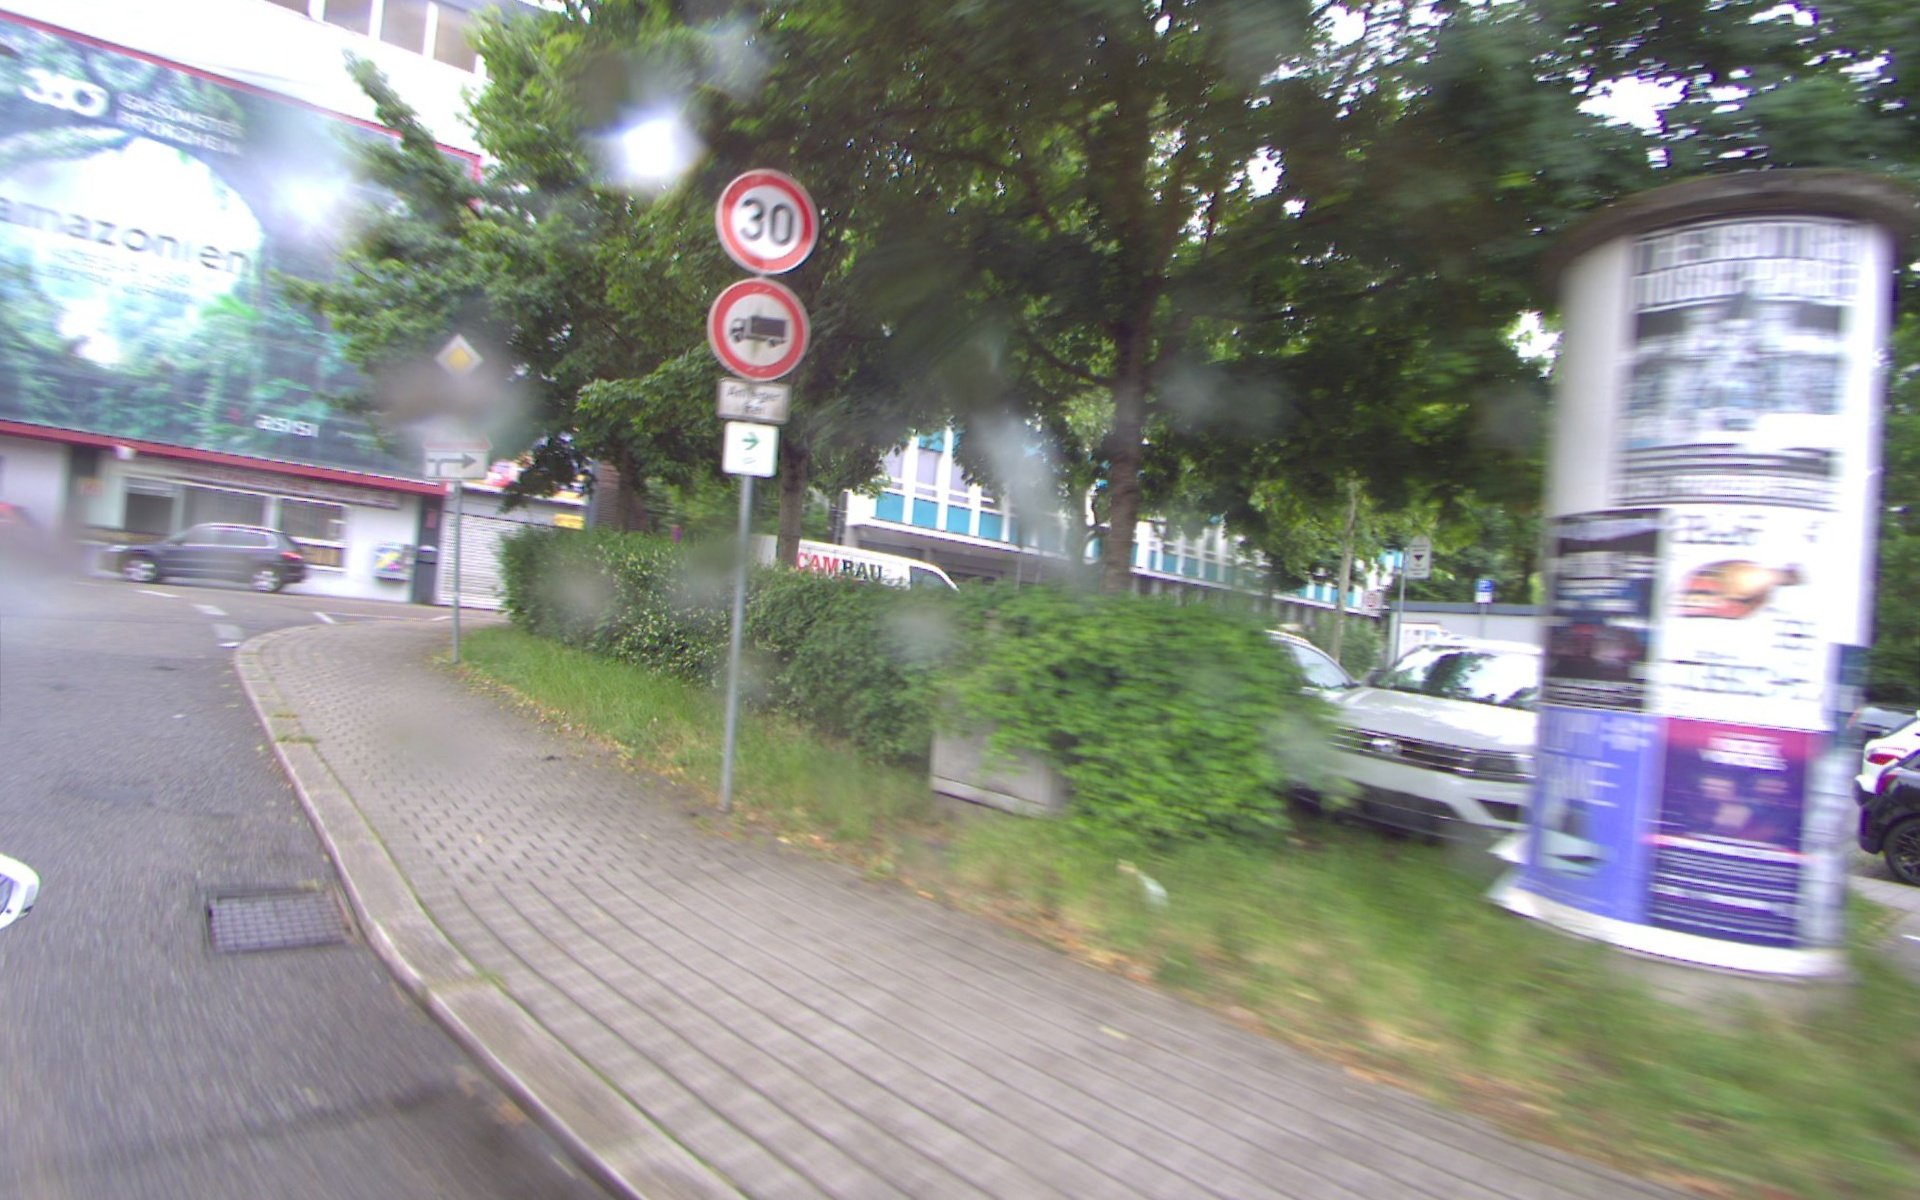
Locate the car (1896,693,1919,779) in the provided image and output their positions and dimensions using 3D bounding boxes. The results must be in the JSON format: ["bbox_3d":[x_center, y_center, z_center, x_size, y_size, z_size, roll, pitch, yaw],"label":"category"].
[{"bbox_3d":[20.550,2.866,20.343,3.968,1.630,1.781,7,-1,-40],"label":"car"}]

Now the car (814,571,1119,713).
[{"bbox_3d":[0.211,0.649,14.158,4.184,1.501,1.617,8,0,-43],"label":"car"}]

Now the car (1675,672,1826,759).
[{"bbox_3d":[17.949,2.619,22.788,3.968,1.630,1.781,7,-1,-40],"label":"car"}]

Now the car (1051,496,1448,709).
[{"bbox_3d":[2.948,0.115,9.693,4.184,1.501,1.617,8,0,-43],"label":"car"}]

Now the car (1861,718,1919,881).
[{"bbox_3d":[10.039,1.947,8.255,1.624,1.381,3.663,7,-1,-39],"label":"car"}]

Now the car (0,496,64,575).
[{"bbox_3d":[-24.386,-1.760,23.688,4.444,1.731,1.919,8,-3,-30],"label":"car"}]

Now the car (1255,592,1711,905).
[{"bbox_3d":[4.165,1.044,7.664,4.184,1.641,1.617,8,0,-43],"label":"car"}]

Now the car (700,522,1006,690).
[{"bbox_3d":[-1.573,0.125,15.318,4.170,1.984,1.623,8,0,-32],"label":"car"}]

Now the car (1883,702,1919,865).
[{"bbox_3d":[11.899,2.139,9.984,1.622,1.717,3.668,7,-1,-35],"label":"car"}]

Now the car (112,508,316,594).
[{"bbox_3d":[-19.326,-1.220,26.307,3.955,1.732,1.918,6,-1,-30],"label":"car"}]
